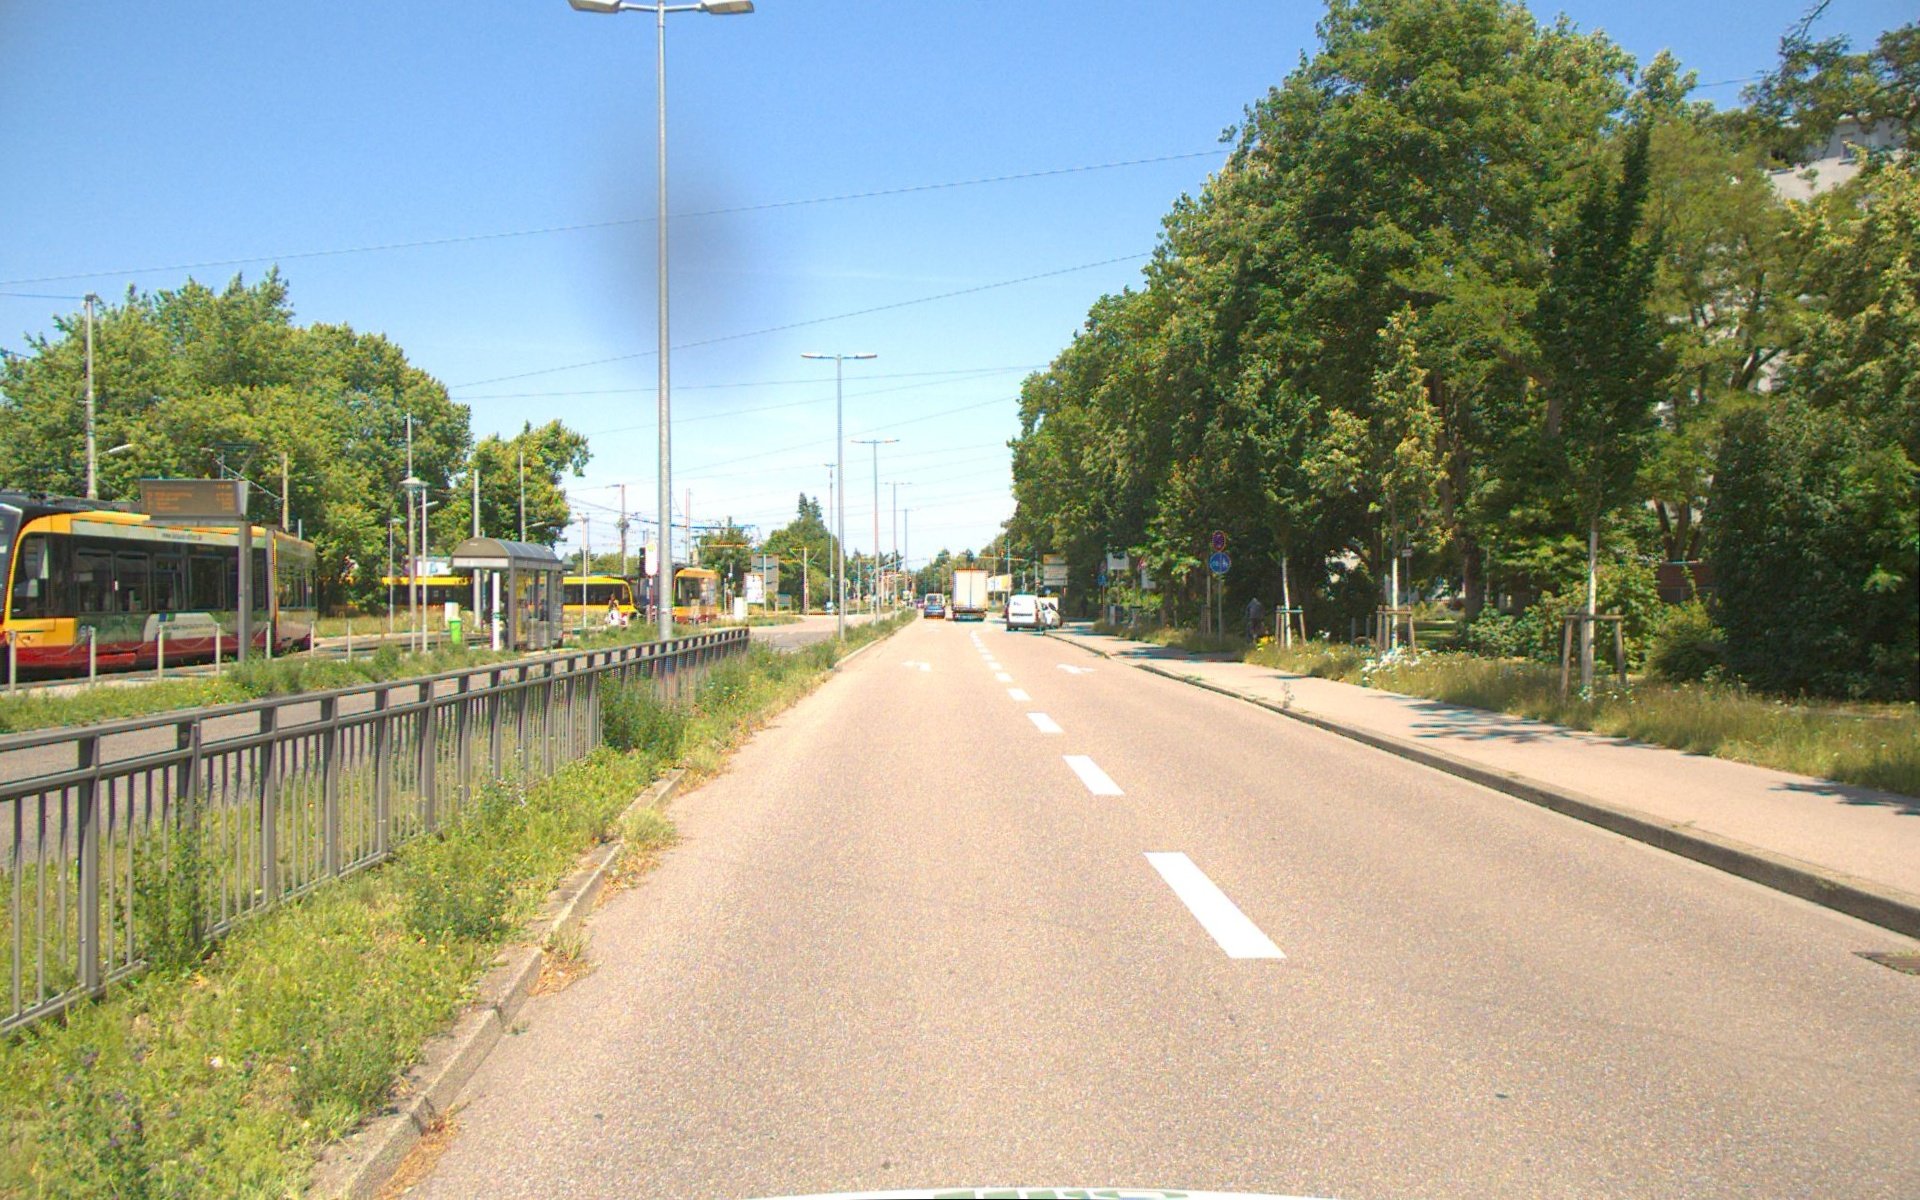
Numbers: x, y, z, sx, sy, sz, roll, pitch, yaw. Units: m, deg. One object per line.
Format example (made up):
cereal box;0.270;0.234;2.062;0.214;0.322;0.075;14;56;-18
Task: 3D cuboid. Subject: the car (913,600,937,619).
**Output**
car;-2.886;0.767;136.867;1.854;1.395;4.429;2;0;-1

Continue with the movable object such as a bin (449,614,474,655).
movable object such as a bin;-12.406;0.862;41.201;0.472;0.995;0.644;0;0;-5

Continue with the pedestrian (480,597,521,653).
pedestrian;-13.274;0.707;47.763;0.912;1.573;0.985;1;0;-3

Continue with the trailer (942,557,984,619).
trailer;0.177;-0.929;125.967;2.770;4.499;8.745;1;0;-2

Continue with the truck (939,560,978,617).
truck;-0.179;-0.991;134.482;2.770;4.420;8.281;2;1;-2

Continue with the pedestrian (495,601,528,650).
pedestrian;-12.167;0.681;44.890;0.687;1.306;0.839;1;0;-3

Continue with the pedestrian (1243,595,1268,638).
pedestrian;9.859;0.537;55.202;0.693;1.422;0.763;1;0;0

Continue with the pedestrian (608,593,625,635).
pedestrian;-13.258;0.538;63.769;0.524;1.593;0.582;1;0;-2

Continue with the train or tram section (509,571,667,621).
train or tram section;-28.618;-0.352;127.018;12.455;3.526;3.044;1;0;25

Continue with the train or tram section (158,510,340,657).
train or tram section;-20.414;-0.464;48.323;2.993;3.688;12.403;1;0;-15

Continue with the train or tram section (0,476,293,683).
train or tram section;-18.705;-0.430;36.406;2.983;3.688;13.890;1;0;-3

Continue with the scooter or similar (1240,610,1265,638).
scooter or similar;9.859;0.793;55.734;0.693;0.909;0.763;1;0;0

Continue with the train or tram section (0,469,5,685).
train or tram section;-18.497;-0.407;22.830;2.981;3.833;13.260;1;0;-1

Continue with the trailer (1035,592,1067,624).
trailer;4.974;0.427;90.319;1.439;1.698;2.855;1;0;-2

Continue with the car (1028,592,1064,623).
car;4.847;0.419;93.952;1.665;1.683;4.397;1;0;-2

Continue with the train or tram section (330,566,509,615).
train or tram section;-42.311;-0.727;129.756;12.951;3.526;3.046;1;0;0

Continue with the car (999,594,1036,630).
car;2.890;0.600;84.448;1.674;1.778;4.427;1;0;0

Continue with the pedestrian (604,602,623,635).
pedestrian;-13.058;0.700;62.349;0.569;1.210;0.536;1;0;-2

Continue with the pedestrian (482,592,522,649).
pedestrian;-12.892;0.570;46.602;0.856;1.573;1.025;1;0;-3
